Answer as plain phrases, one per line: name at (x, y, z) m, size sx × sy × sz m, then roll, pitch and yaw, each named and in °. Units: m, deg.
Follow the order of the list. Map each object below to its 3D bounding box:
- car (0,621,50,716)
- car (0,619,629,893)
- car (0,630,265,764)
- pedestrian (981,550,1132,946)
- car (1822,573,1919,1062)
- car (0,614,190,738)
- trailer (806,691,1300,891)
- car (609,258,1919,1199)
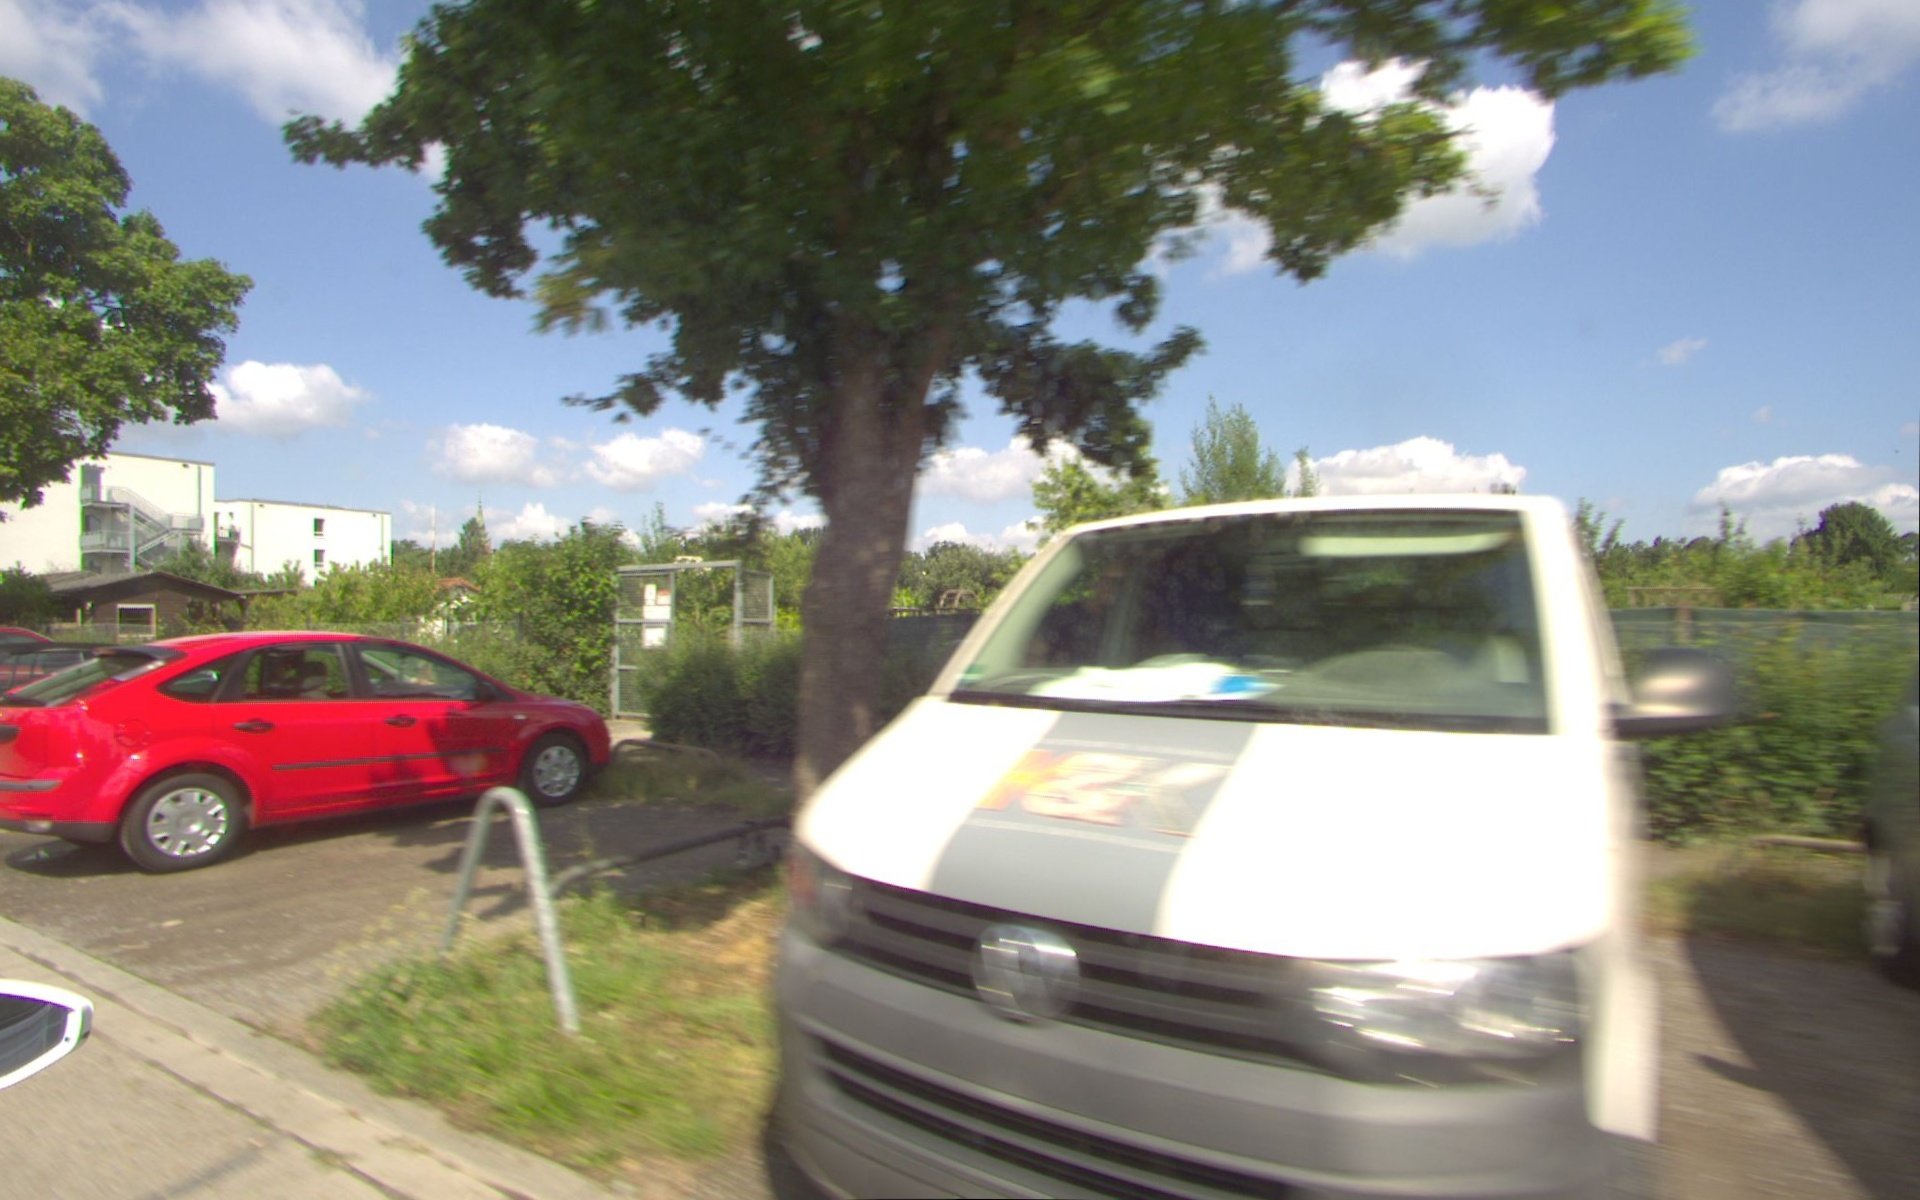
car at (-17.154, 1.069, 15.688) m, size 1.830 × 1.538 × 3.977 m, roll -1°, pitch -3°, yaw 35°
car at (-4.915, 0.971, 7.843) m, size 1.852 × 1.523 × 4.176 m, roll -1°, pitch -3°, yaw 33°
car at (-10.916, 1.076, 11.673) m, size 1.879 × 1.446 × 4.237 m, roll -1°, pitch -3°, yaw 28°
pedestrian at (0.453, 0.641, 4.631) m, size 0.467 × 1.695 × 0.521 m, roll -2°, pitch 0°, yaw 33°
car at (3.740, 0.709, 2.360) m, size 1.972 × 1.613 × 4.234 m, roll 0°, pitch 0°, yaw 32°
car at (-12.971, 0.993, 13.452) m, size 1.843 × 1.593 × 3.759 m, roll -1°, pitch -3°, yaw 32°
trailer at (0.650, 1.154, 6.812) m, size 3.023 × 0.888 × 1.552 m, roll 1°, pitch -1°, yaw -30°
car at (1.318, 0.607, 3.589) m, size 2.080 × 1.911 × 4.627 m, roll 0°, pitch 0°, yaw 30°
